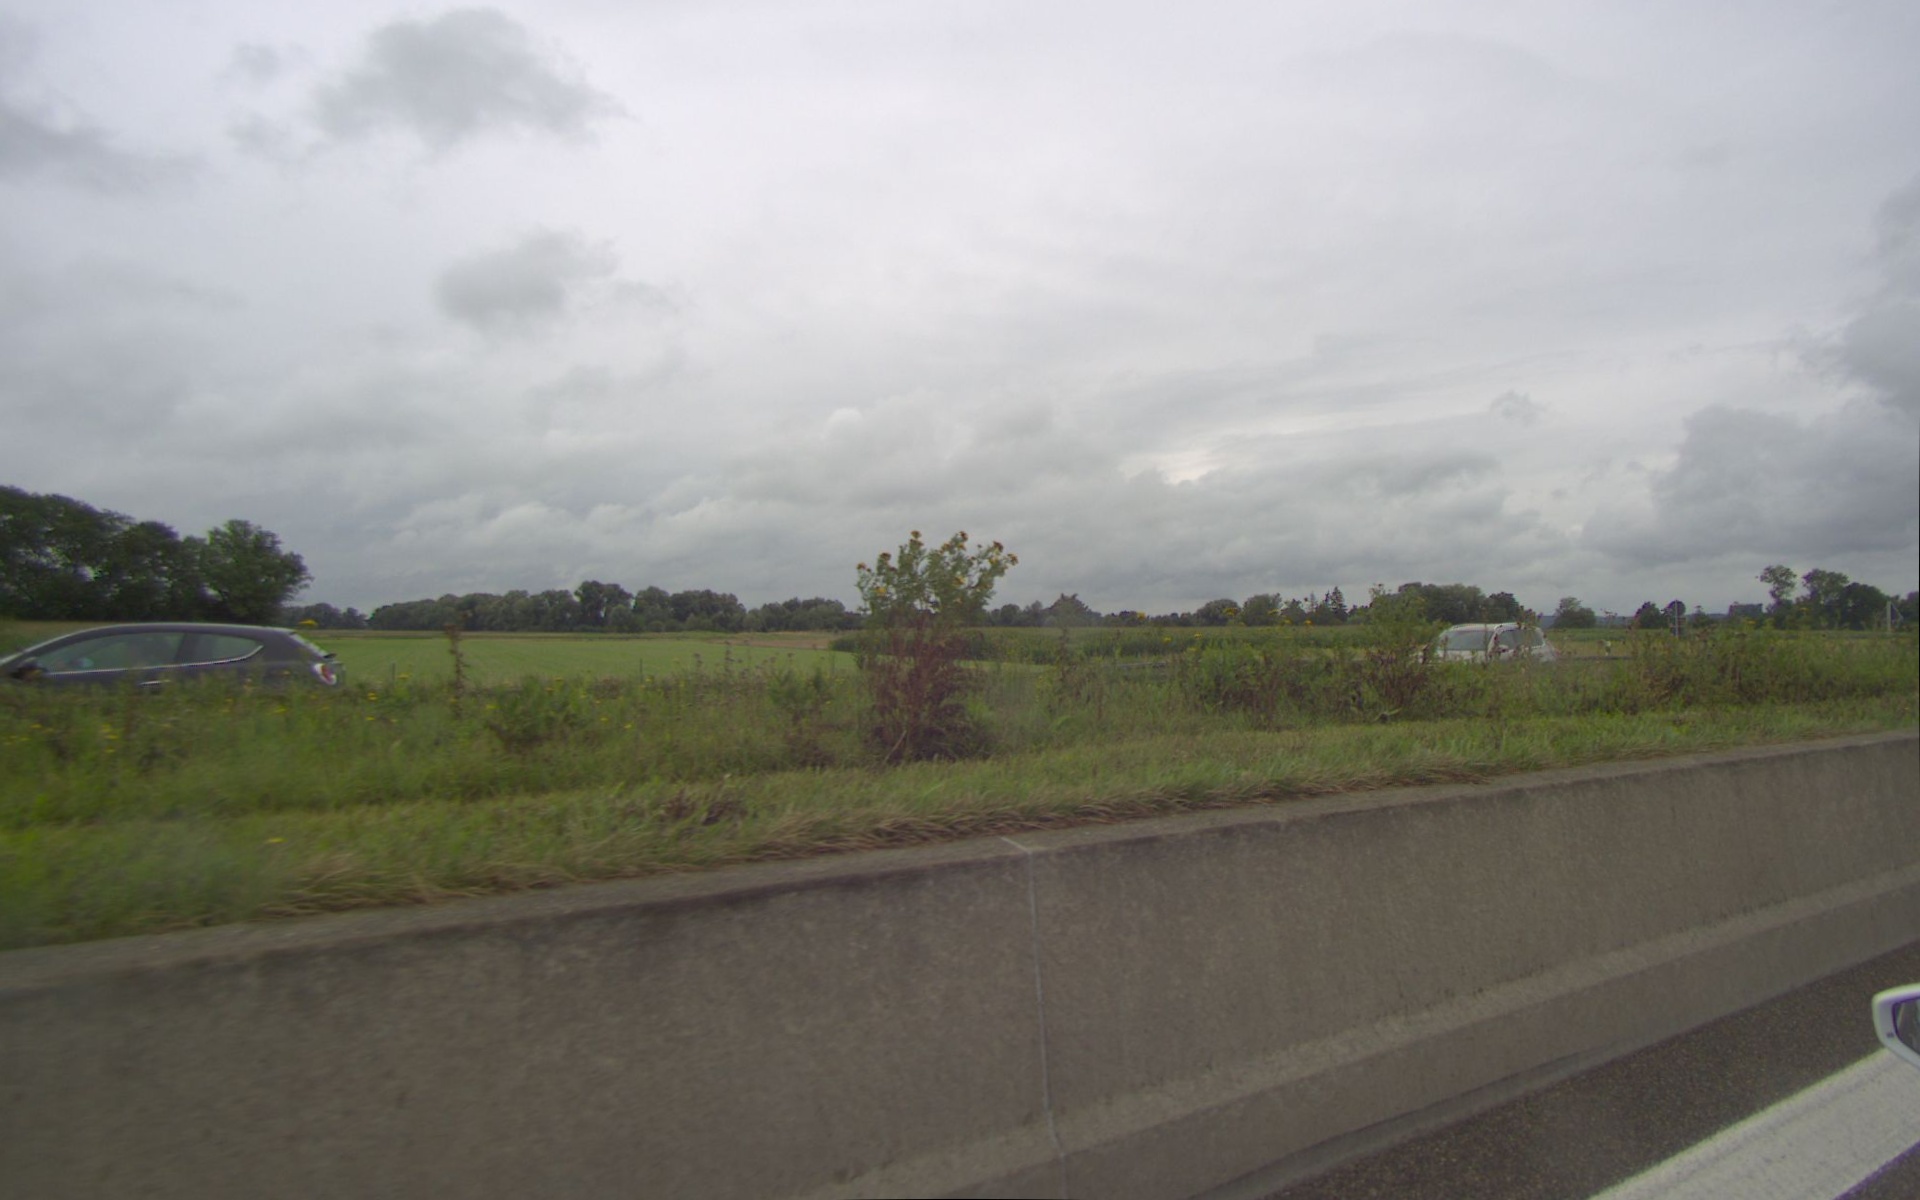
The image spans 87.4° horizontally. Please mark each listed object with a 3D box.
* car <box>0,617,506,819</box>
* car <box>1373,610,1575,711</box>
[{"bbox_3d":[-7.144,1.084,10.377,4.297,1.719,1.984,1,-3,-30],"label":"car"},{"bbox_3d":[11.415,1.300,22.259,4.297,2.040,1.984,1,-3,-30],"label":"car"}]
